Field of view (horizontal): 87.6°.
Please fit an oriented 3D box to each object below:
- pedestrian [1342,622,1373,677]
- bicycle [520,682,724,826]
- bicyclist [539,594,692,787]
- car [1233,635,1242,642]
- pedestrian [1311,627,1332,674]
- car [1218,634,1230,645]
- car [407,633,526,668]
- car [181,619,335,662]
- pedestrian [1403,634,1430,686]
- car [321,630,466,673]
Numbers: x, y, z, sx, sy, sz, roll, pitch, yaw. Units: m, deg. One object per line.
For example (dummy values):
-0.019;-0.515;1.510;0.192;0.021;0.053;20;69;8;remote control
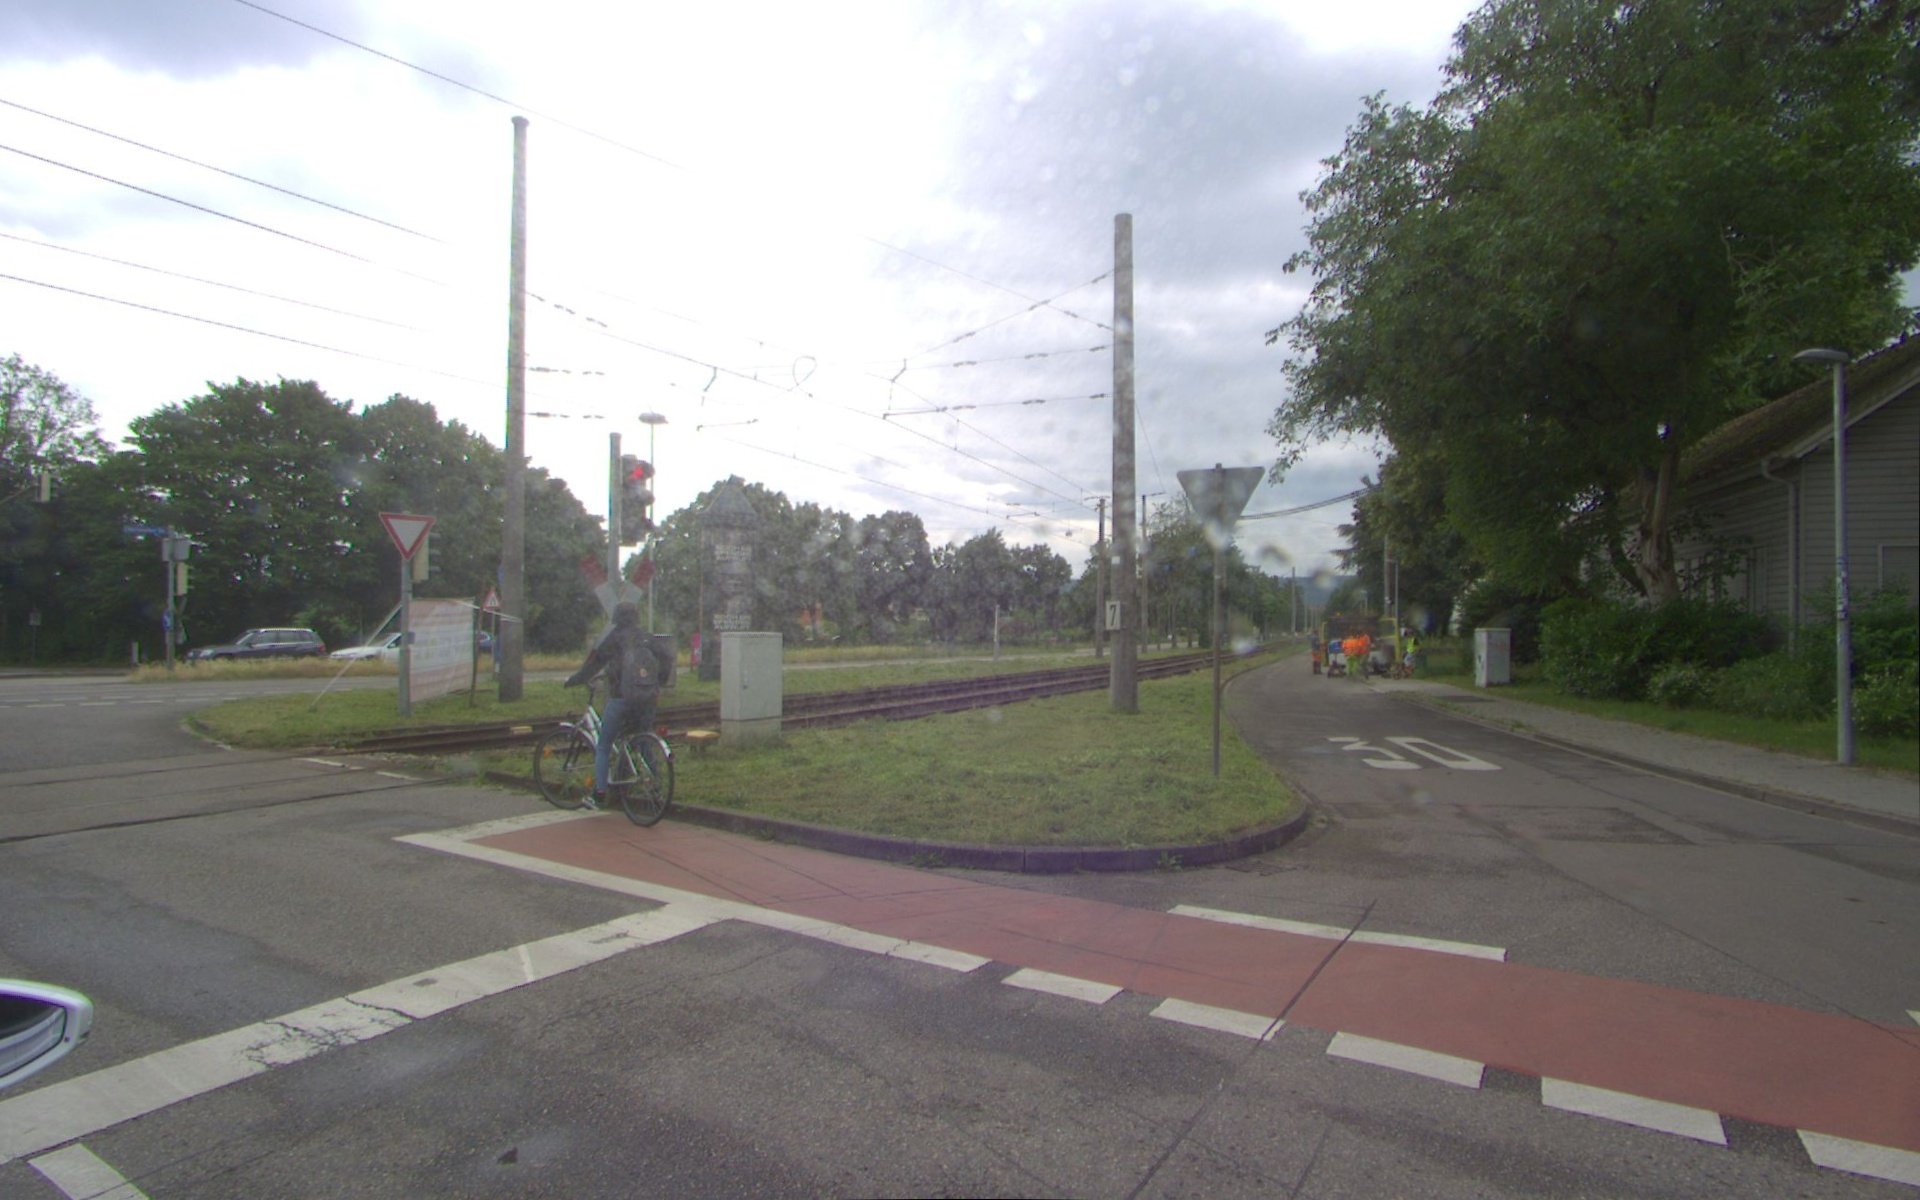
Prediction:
13.834;1.724;34.851;0.862;1.878;0.676;1;-1;34;pedestrian
-2.754;1.189;8.042;2.001;0.993;0.382;-1;-2;32;bicycle
-2.748;0.711;8.008;0.947;1.441;0.621;-1;-5;32;bicyclist
58.882;8.235;212.371;1.963;1.460;3.997;-1;-2;16;car
14.785;2.069;40.991;0.757;1.892;0.604;0;-1;17;pedestrian
48.075;7.191;182.228;1.964;1.829;3.996;-1;-2;16;car
-21.871;2.203;44.580;1.820;1.458;4.456;0;-2;33;car
-26.474;1.524;37.915;1.820;1.523;4.456;0;-2;33;car
16.668;2.185;36.557;0.598;1.864;0.712;1;-1;-13;pedestrian
-19.621;1.759;34.860;1.624;1.374;4.129;0;-2;33;car
